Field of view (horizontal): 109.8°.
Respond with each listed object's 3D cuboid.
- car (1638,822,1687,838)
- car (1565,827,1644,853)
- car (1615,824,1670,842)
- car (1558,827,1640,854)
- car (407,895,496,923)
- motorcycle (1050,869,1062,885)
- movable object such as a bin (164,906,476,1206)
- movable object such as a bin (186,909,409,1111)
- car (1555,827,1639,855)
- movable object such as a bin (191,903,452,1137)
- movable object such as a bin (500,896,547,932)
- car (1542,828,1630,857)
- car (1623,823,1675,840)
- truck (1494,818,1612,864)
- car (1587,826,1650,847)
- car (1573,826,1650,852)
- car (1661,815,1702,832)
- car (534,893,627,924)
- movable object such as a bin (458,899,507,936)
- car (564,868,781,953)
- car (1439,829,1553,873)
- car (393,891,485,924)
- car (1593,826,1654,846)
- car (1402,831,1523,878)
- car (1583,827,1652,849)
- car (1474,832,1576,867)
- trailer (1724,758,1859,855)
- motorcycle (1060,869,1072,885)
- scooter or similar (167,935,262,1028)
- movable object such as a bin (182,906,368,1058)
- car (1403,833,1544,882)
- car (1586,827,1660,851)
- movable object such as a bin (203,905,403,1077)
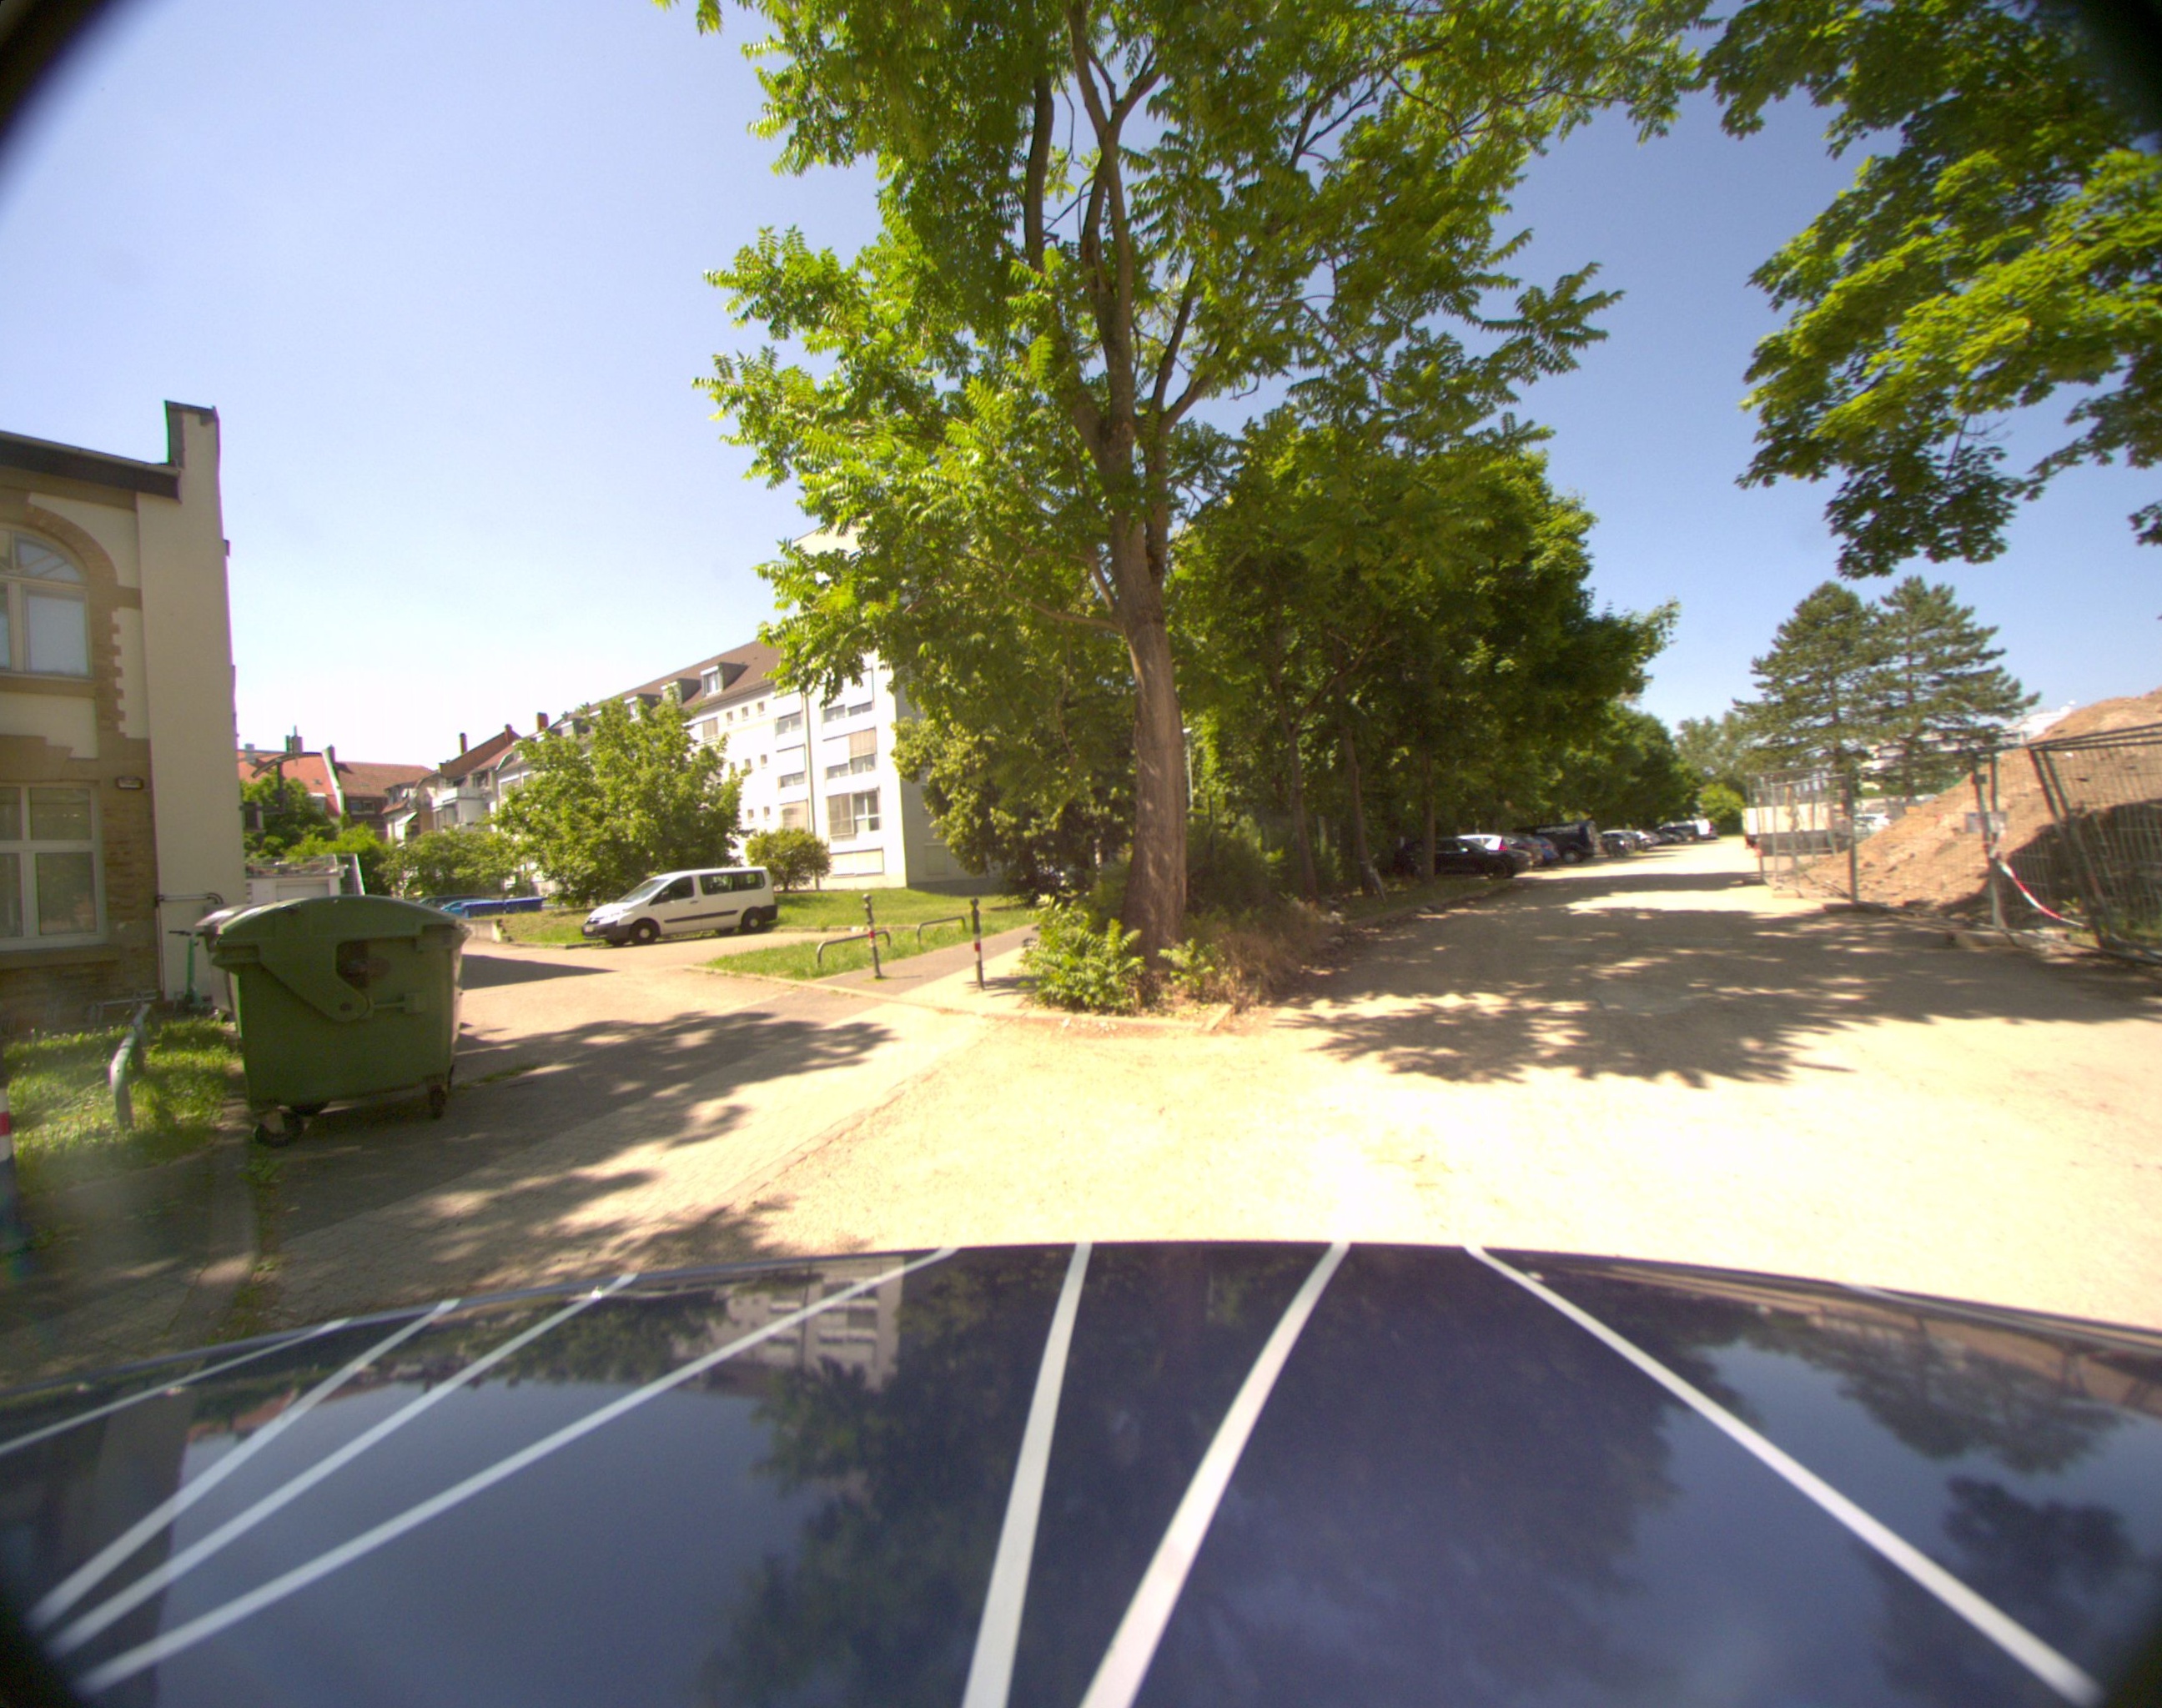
[{"bbox_3d":[59.866,-2.432,78.254,3.780,1.401,1.744,-3,0,43],"label":"car"},{"bbox_3d":[32.477,-0.848,47.215,3.780,1.401,1.744,-3,0,43],"label":"car"},{"bbox_3d":[51.301,-1.895,69.453,3.780,1.401,1.744,-3,0,43],"label":"car"},{"bbox_3d":[31.096,-0.777,45.660,3.780,1.401,1.744,-3,0,43],"label":"car"},{"bbox_3d":[-41.979,3.656,50.767,1.855,1.544,4.178,-4,-1,37],"label":"car"},{"bbox_3d":[-1.948,1.841,59.991,0.699,1.161,2.304,-3,0,2],"label":"motorcycle"},{"bbox_3d":[-4.758,1.142,4.936,1.185,1.461,1.329,-4,1,-37],"label":"movable object such as a bin"},{"bbox_3d":[-7.040,1.290,6.841,1.308,1.461,1.185,-2,1,38],"label":"movable object such as a bin"},{"bbox_3d":[29.797,-0.718,43.938,3.780,1.401,1.744,-3,0,43],"label":"car"},{"bbox_3d":[-5.919,1.168,5.941,1.308,1.461,1.185,-2,1,36],"label":"movable object such as a bin"},{"bbox_3d":[-22.663,2.423,30.899,1.101,1.320,1.260,-4,0,42],"label":"movable object such as a bin"},{"bbox_3d":[28.170,-0.618,42.432,3.780,1.401,1.744,-3,0,43],"label":"car"},{"bbox_3d":[54.773,-2.118,73.283,3.780,1.401,1.744,-3,0,43],"label":"car"},{"bbox_3d":[22.817,-0.600,36.819,4.446,1.982,2.004,-3,0,43],"label":"truck"},{"bbox_3d":[42.026,-1.376,59.474,3.780,1.401,1.744,-3,0,43],"label":"car"},{"bbox_3d":[33.879,-0.934,48.561,3.780,1.401,1.744,-3,0,43],"label":"car"},{"bbox_3d":[72.963,-3.688,92.314,3.780,1.711,1.744,-3,0,43],"label":"car"},{"bbox_3d":[-28.333,3.082,43.103,1.707,1.427,4.008,-4,-1,38],"label":"car"},{"bbox_3d":[-23.553,2.480,29.916,1.101,1.320,1.260,-4,0,42],"label":"movable object such as a bin"},{"bbox_3d":[-11.134,1.484,21.062,1.995,1.899,4.813,-5,-2,37],"label":"car"},{"bbox_3d":[17.180,-0.120,31.535,3.780,1.625,1.851,-3,0,41],"label":"car"},{"bbox_3d":[-44.166,3.626,52.347,1.995,1.821,4.459,-3,0,39],"label":"car"},{"bbox_3d":[44.009,-1.447,61.672,3.780,1.401,1.744,-3,0,43],"label":"car"},{"bbox_3d":[14.794,0.024,29.534,3.780,1.625,1.851,-3,0,41],"label":"car"},{"bbox_3d":[38.558,-1.144,54.651,3.780,1.401,1.744,-3,0,43],"label":"car"},{"bbox_3d":[20.565,-0.186,35.245,3.780,1.401,1.744,-3,0,41],"label":"car"},{"bbox_3d":[29.466,-1.894,31.334,8.787,3.401,3.034,-4,1,-41],"label":"trailer"},{"bbox_3d":[-1.175,1.801,59.974,0.699,1.161,2.311,-3,0,2],"label":"motorcycle"},{"bbox_3d":[-11.877,1.721,10.410,1.253,1.167,0.466,-3,0,24],"label":"scooter or similar"},{"bbox_3d":[-9.396,1.405,8.869,1.459,1.497,1.161,-2,1,33],"label":"movable object such as a bin"},{"bbox_3d":[13.553,0.151,26.379,3.989,1.494,1.693,-3,0,42],"label":"car"},{"bbox_3d":[36.405,-1.001,51.083,3.780,1.401,1.744,-3,0,43],"label":"car"},{"bbox_3d":[-8.004,1.318,7.833,1.308,1.461,1.185,-2,1,36],"label":"movable object such as a bin"}]
